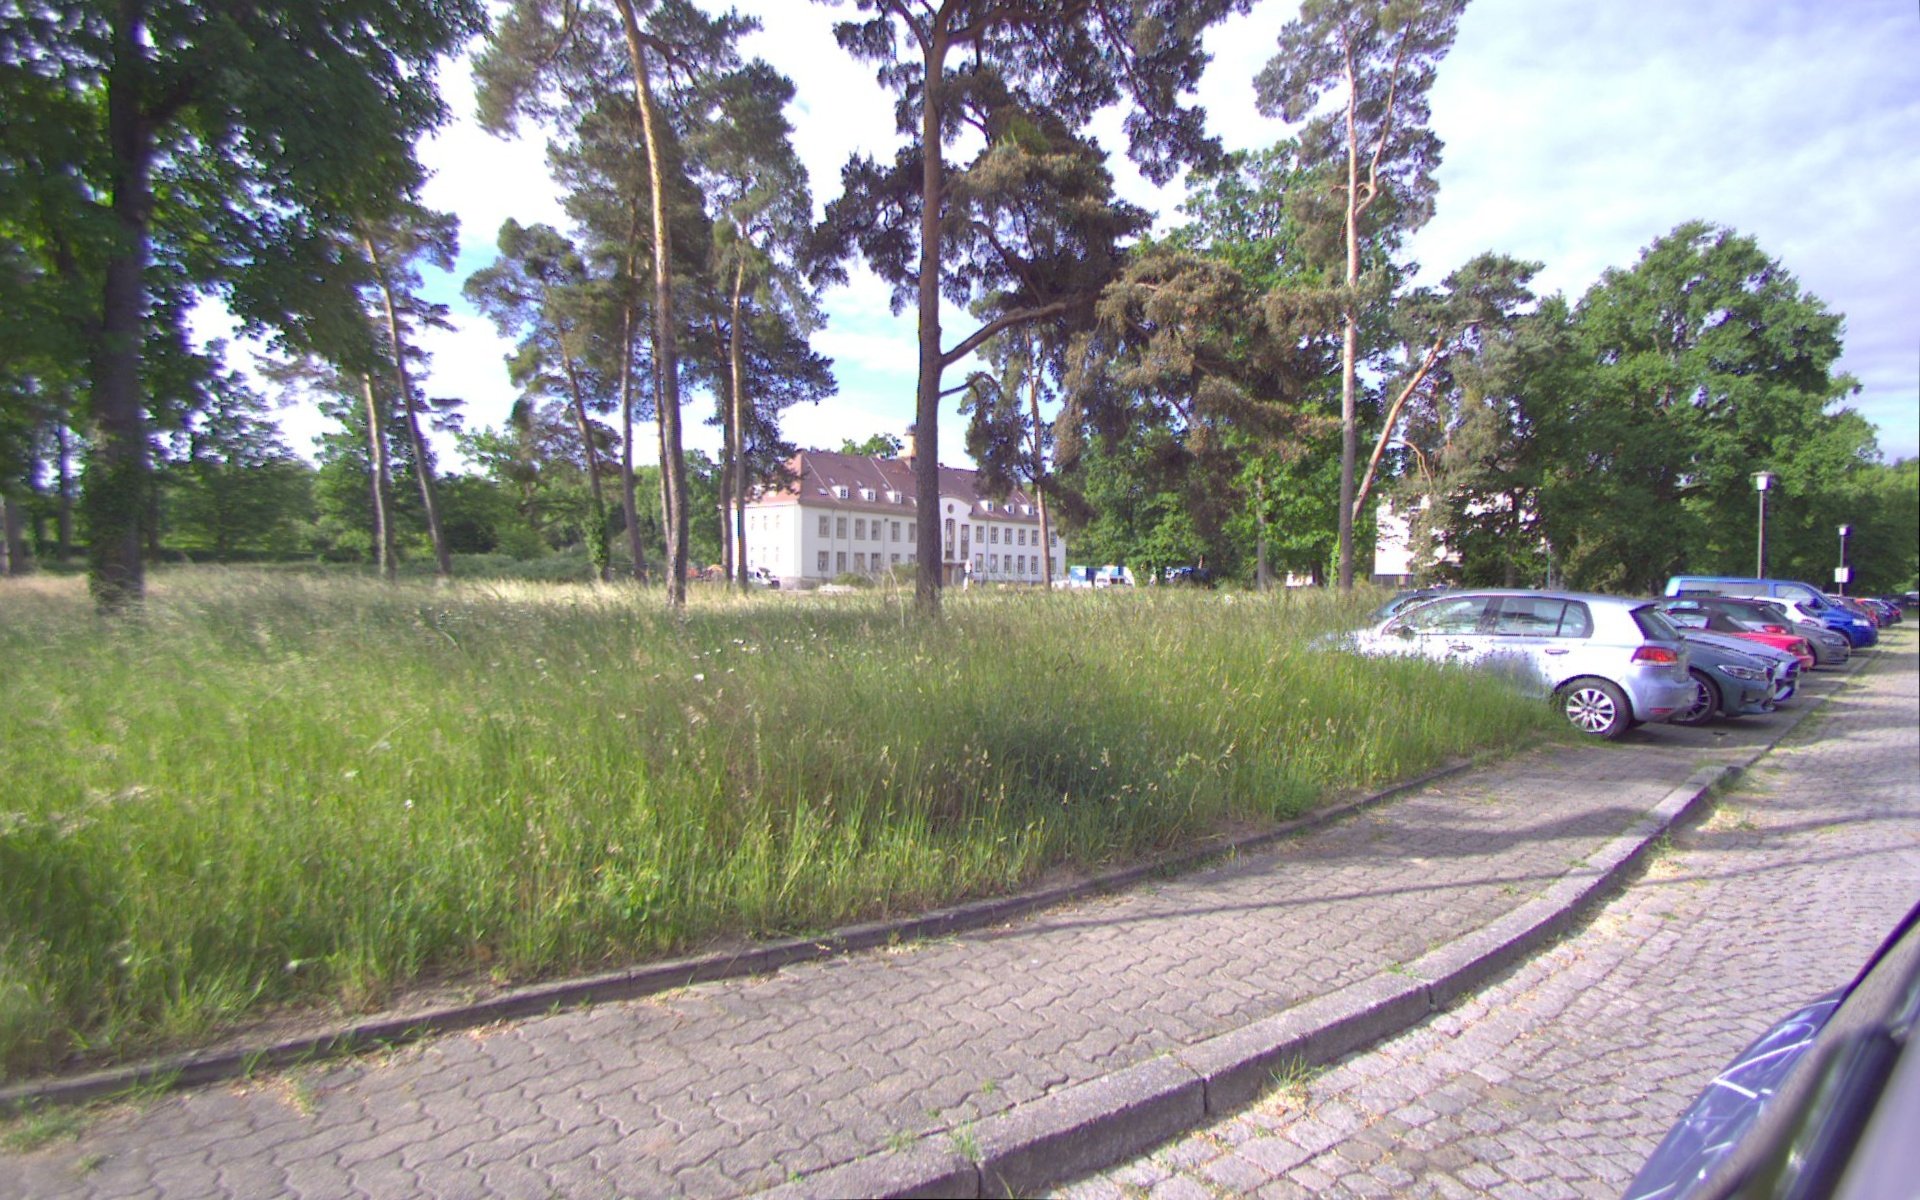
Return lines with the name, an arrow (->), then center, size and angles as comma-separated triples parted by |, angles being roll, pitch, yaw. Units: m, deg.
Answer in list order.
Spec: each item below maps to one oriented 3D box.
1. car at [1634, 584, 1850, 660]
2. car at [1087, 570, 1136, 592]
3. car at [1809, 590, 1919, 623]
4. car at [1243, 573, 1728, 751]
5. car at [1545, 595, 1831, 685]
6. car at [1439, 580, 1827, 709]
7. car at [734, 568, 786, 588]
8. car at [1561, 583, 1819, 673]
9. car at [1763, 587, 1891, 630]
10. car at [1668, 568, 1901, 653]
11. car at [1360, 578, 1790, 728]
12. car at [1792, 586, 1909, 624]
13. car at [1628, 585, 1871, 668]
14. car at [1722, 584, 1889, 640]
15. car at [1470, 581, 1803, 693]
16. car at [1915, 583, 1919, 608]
car -> 18.692, 0.453, 24.306 | 1.778, 1.549, 3.878 | -1, 3, -44
car -> 16.918, -2.078, 112.872 | 5.861, 2.328, 2.165 | 0, 2, -43
car -> 46.176, 0.297, 51.730 | 1.753, 1.468, 4.032 | -1, 3, -43
car -> 5.770, 0.513, 11.530 | 4.545, 1.523, 1.903 | 3, 3, 44
car -> 13.019, 0.631, 18.262 | 1.698, 1.276, 3.954 | -1, 3, -44
car -> 9.797, 0.514, 15.016 | 1.820, 1.491, 4.510 | -1, 3, -45
car -> -22.030, -2.443, 111.440 | 5.637, 2.038, 2.597 | 2, 2, 39
car -> 14.592, 0.470, 20.365 | 1.743, 1.513, 3.954 | -1, 3, -44
car -> 35.533, 0.299, 41.531 | 3.879, 1.491, 1.660 | 4, 4, 44
car -> 22.580, 0.183, 27.861 | 4.736, 1.952, 1.960 | 5, 4, 44
car -> 7.816, 0.526, 13.133 | 4.504, 1.491, 1.867 | 3, 3, 41
car -> 42.745, 0.203, 48.628 | 4.128, 1.588, 1.719 | 3, 3, 45
car -> 17.044, 0.490, 21.971 | 1.801, 1.485, 3.954 | -1, 3, -44
car -> 28.538, 0.349, 34.246 | 4.192, 1.608, 1.848 | 3, 3, 44
car -> 11.116, 0.505, 16.861 | 1.712, 1.491, 4.344 | -1, 3, -45
car -> 82.417, -0.304, 83.559 | 1.968, 2.066, 5.068 | 0, 1, -45
